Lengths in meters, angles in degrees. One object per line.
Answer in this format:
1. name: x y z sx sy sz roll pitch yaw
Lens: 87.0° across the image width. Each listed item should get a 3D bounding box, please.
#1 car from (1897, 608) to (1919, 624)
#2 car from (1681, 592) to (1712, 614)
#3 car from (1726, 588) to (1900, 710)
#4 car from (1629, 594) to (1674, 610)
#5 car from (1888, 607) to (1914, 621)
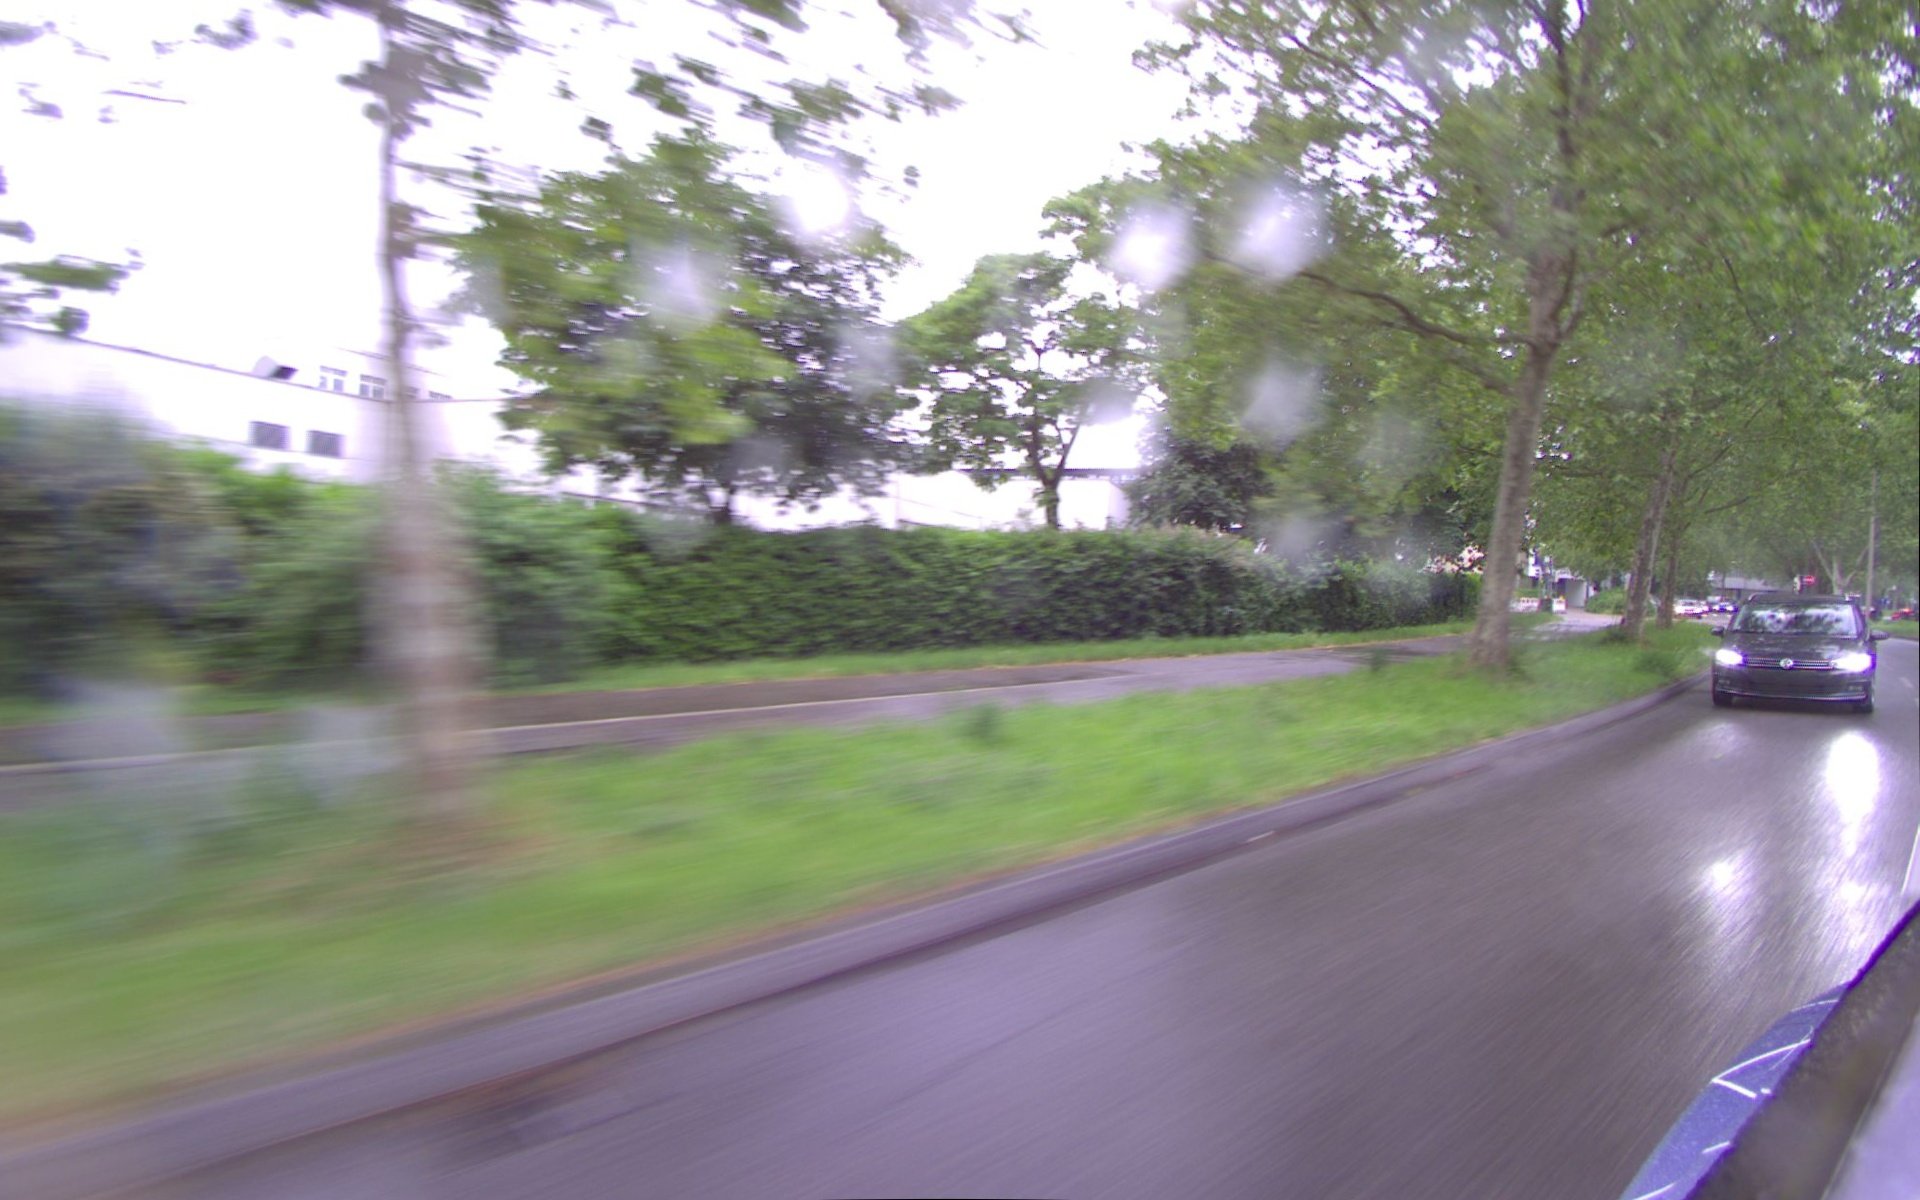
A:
1. car: 96.061 1.629 102.125 1.775 1.575 3.946 2 1 37
2. car: 56.575 0.246 77.740 1.774 1.575 3.950 2 1 35
3. car: 12.689 0.634 15.165 1.776 1.575 3.943 0 0 39
4. car: 75.598 0.241 110.736 3.974 1.575 1.763 3 1 35
5. car: 109.561 1.622 117.899 1.775 1.575 3.946 2 1 37
